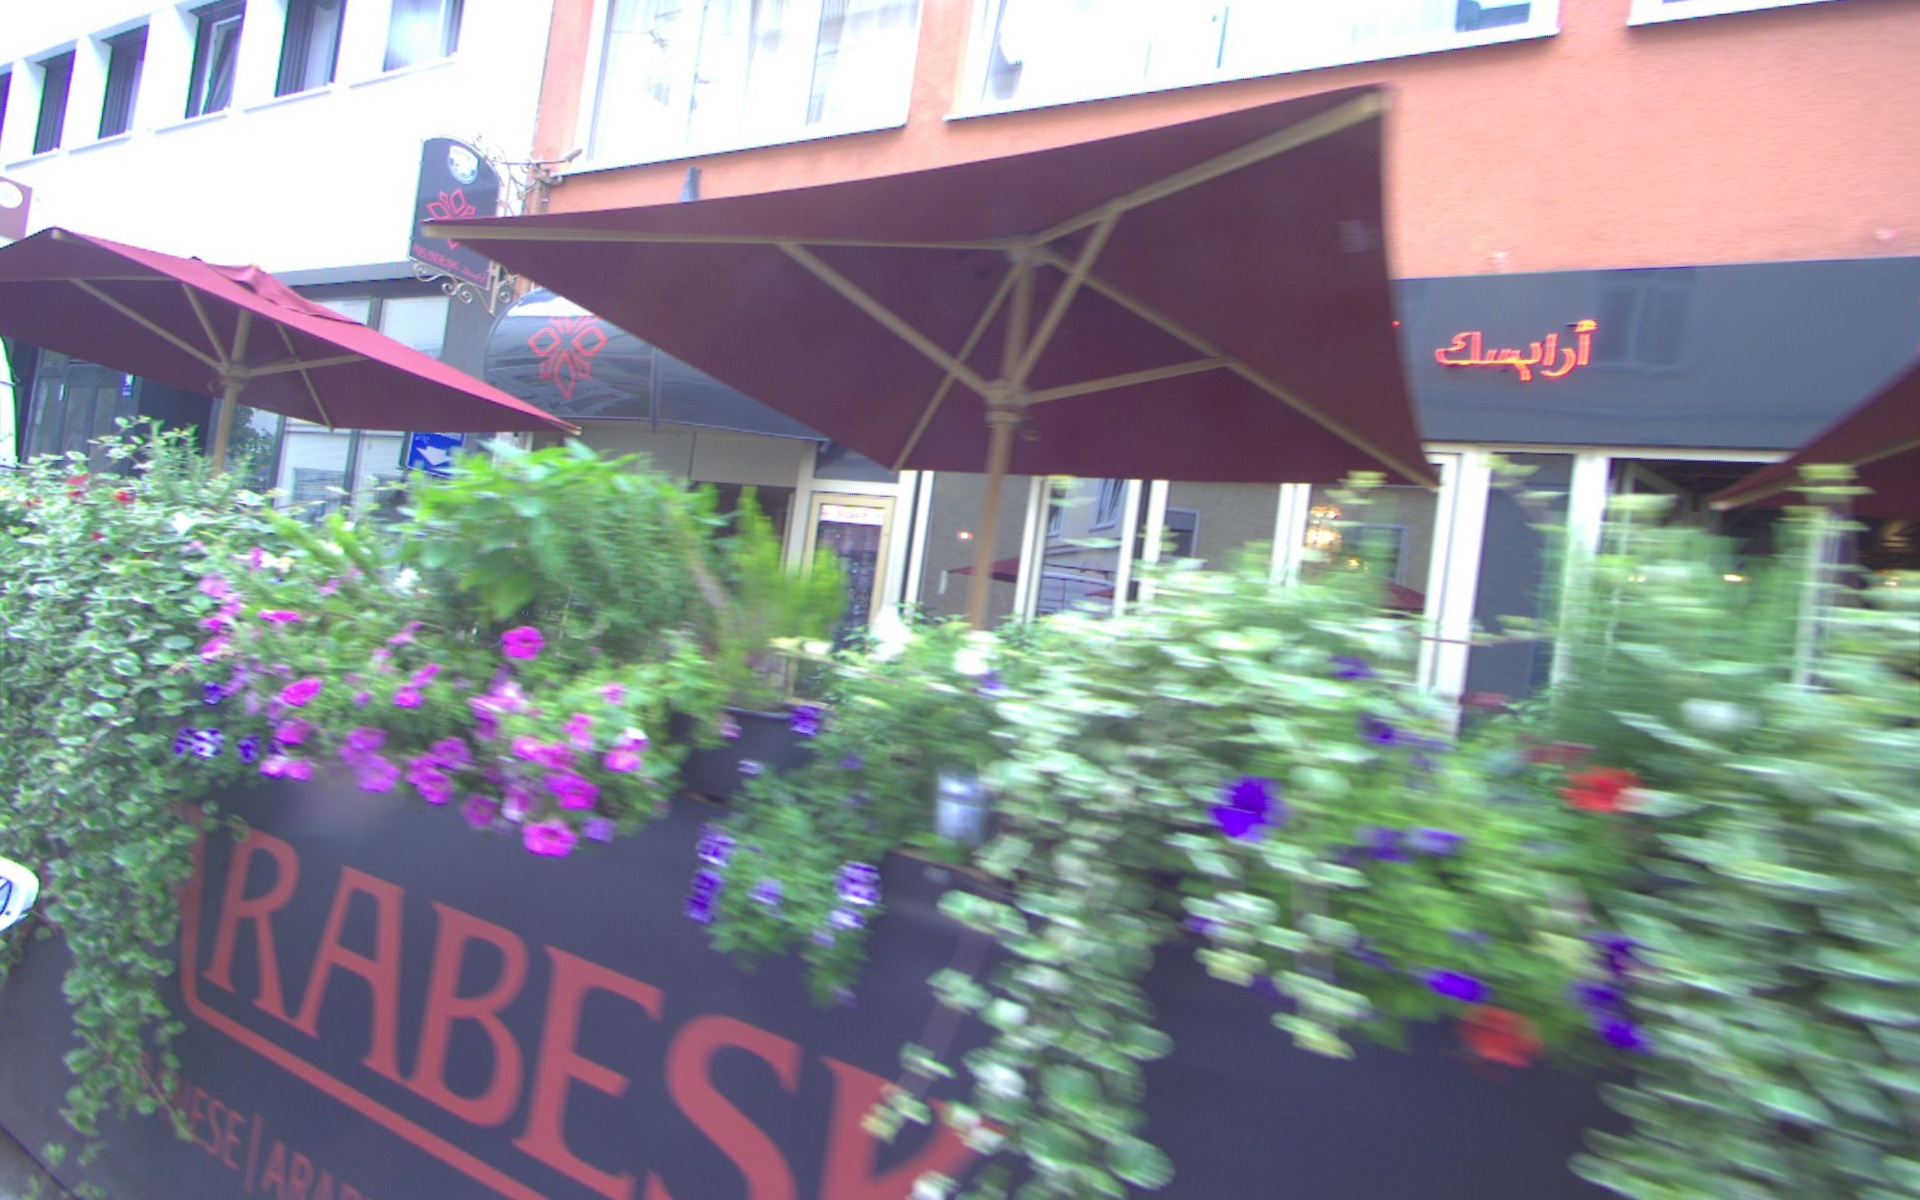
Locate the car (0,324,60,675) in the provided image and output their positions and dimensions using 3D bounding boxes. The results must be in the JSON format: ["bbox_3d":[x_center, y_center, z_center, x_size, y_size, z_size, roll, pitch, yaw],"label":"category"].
[{"bbox_3d":[-8.768,-0.805,6.693,5.892,2.533,1.927,7,-3,28],"label":"car"}]
